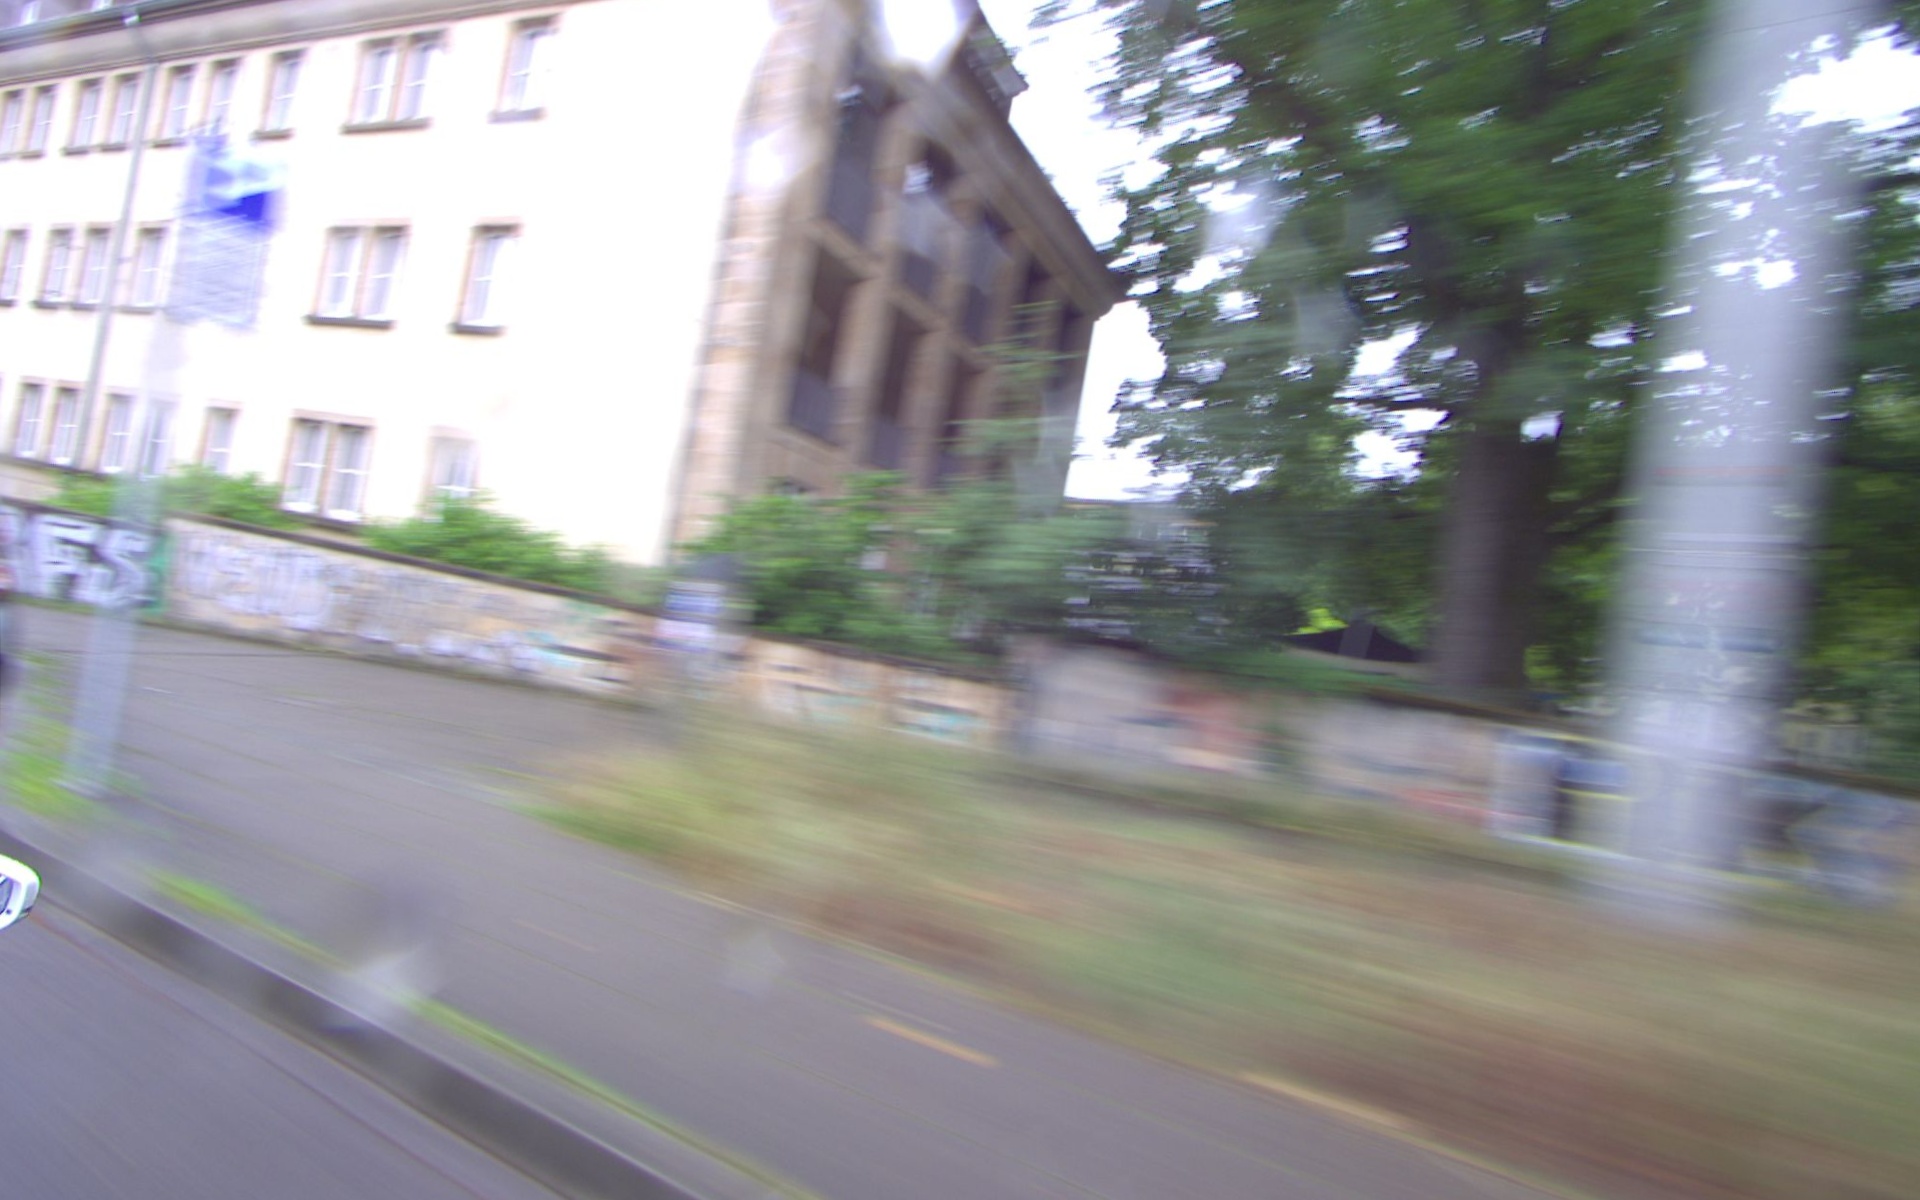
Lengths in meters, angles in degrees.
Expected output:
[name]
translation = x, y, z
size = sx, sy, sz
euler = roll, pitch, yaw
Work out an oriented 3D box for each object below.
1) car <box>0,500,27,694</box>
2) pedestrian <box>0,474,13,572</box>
[car]
translation = -8.824, -0.197, 7.995
size = 2.681, 1.483, 1.597
euler = 6, -2, 39
[pedestrian]
translation = -14.252, -0.971, 14.349
size = 0.726, 1.775, 0.720
euler = 6, -1, 27
